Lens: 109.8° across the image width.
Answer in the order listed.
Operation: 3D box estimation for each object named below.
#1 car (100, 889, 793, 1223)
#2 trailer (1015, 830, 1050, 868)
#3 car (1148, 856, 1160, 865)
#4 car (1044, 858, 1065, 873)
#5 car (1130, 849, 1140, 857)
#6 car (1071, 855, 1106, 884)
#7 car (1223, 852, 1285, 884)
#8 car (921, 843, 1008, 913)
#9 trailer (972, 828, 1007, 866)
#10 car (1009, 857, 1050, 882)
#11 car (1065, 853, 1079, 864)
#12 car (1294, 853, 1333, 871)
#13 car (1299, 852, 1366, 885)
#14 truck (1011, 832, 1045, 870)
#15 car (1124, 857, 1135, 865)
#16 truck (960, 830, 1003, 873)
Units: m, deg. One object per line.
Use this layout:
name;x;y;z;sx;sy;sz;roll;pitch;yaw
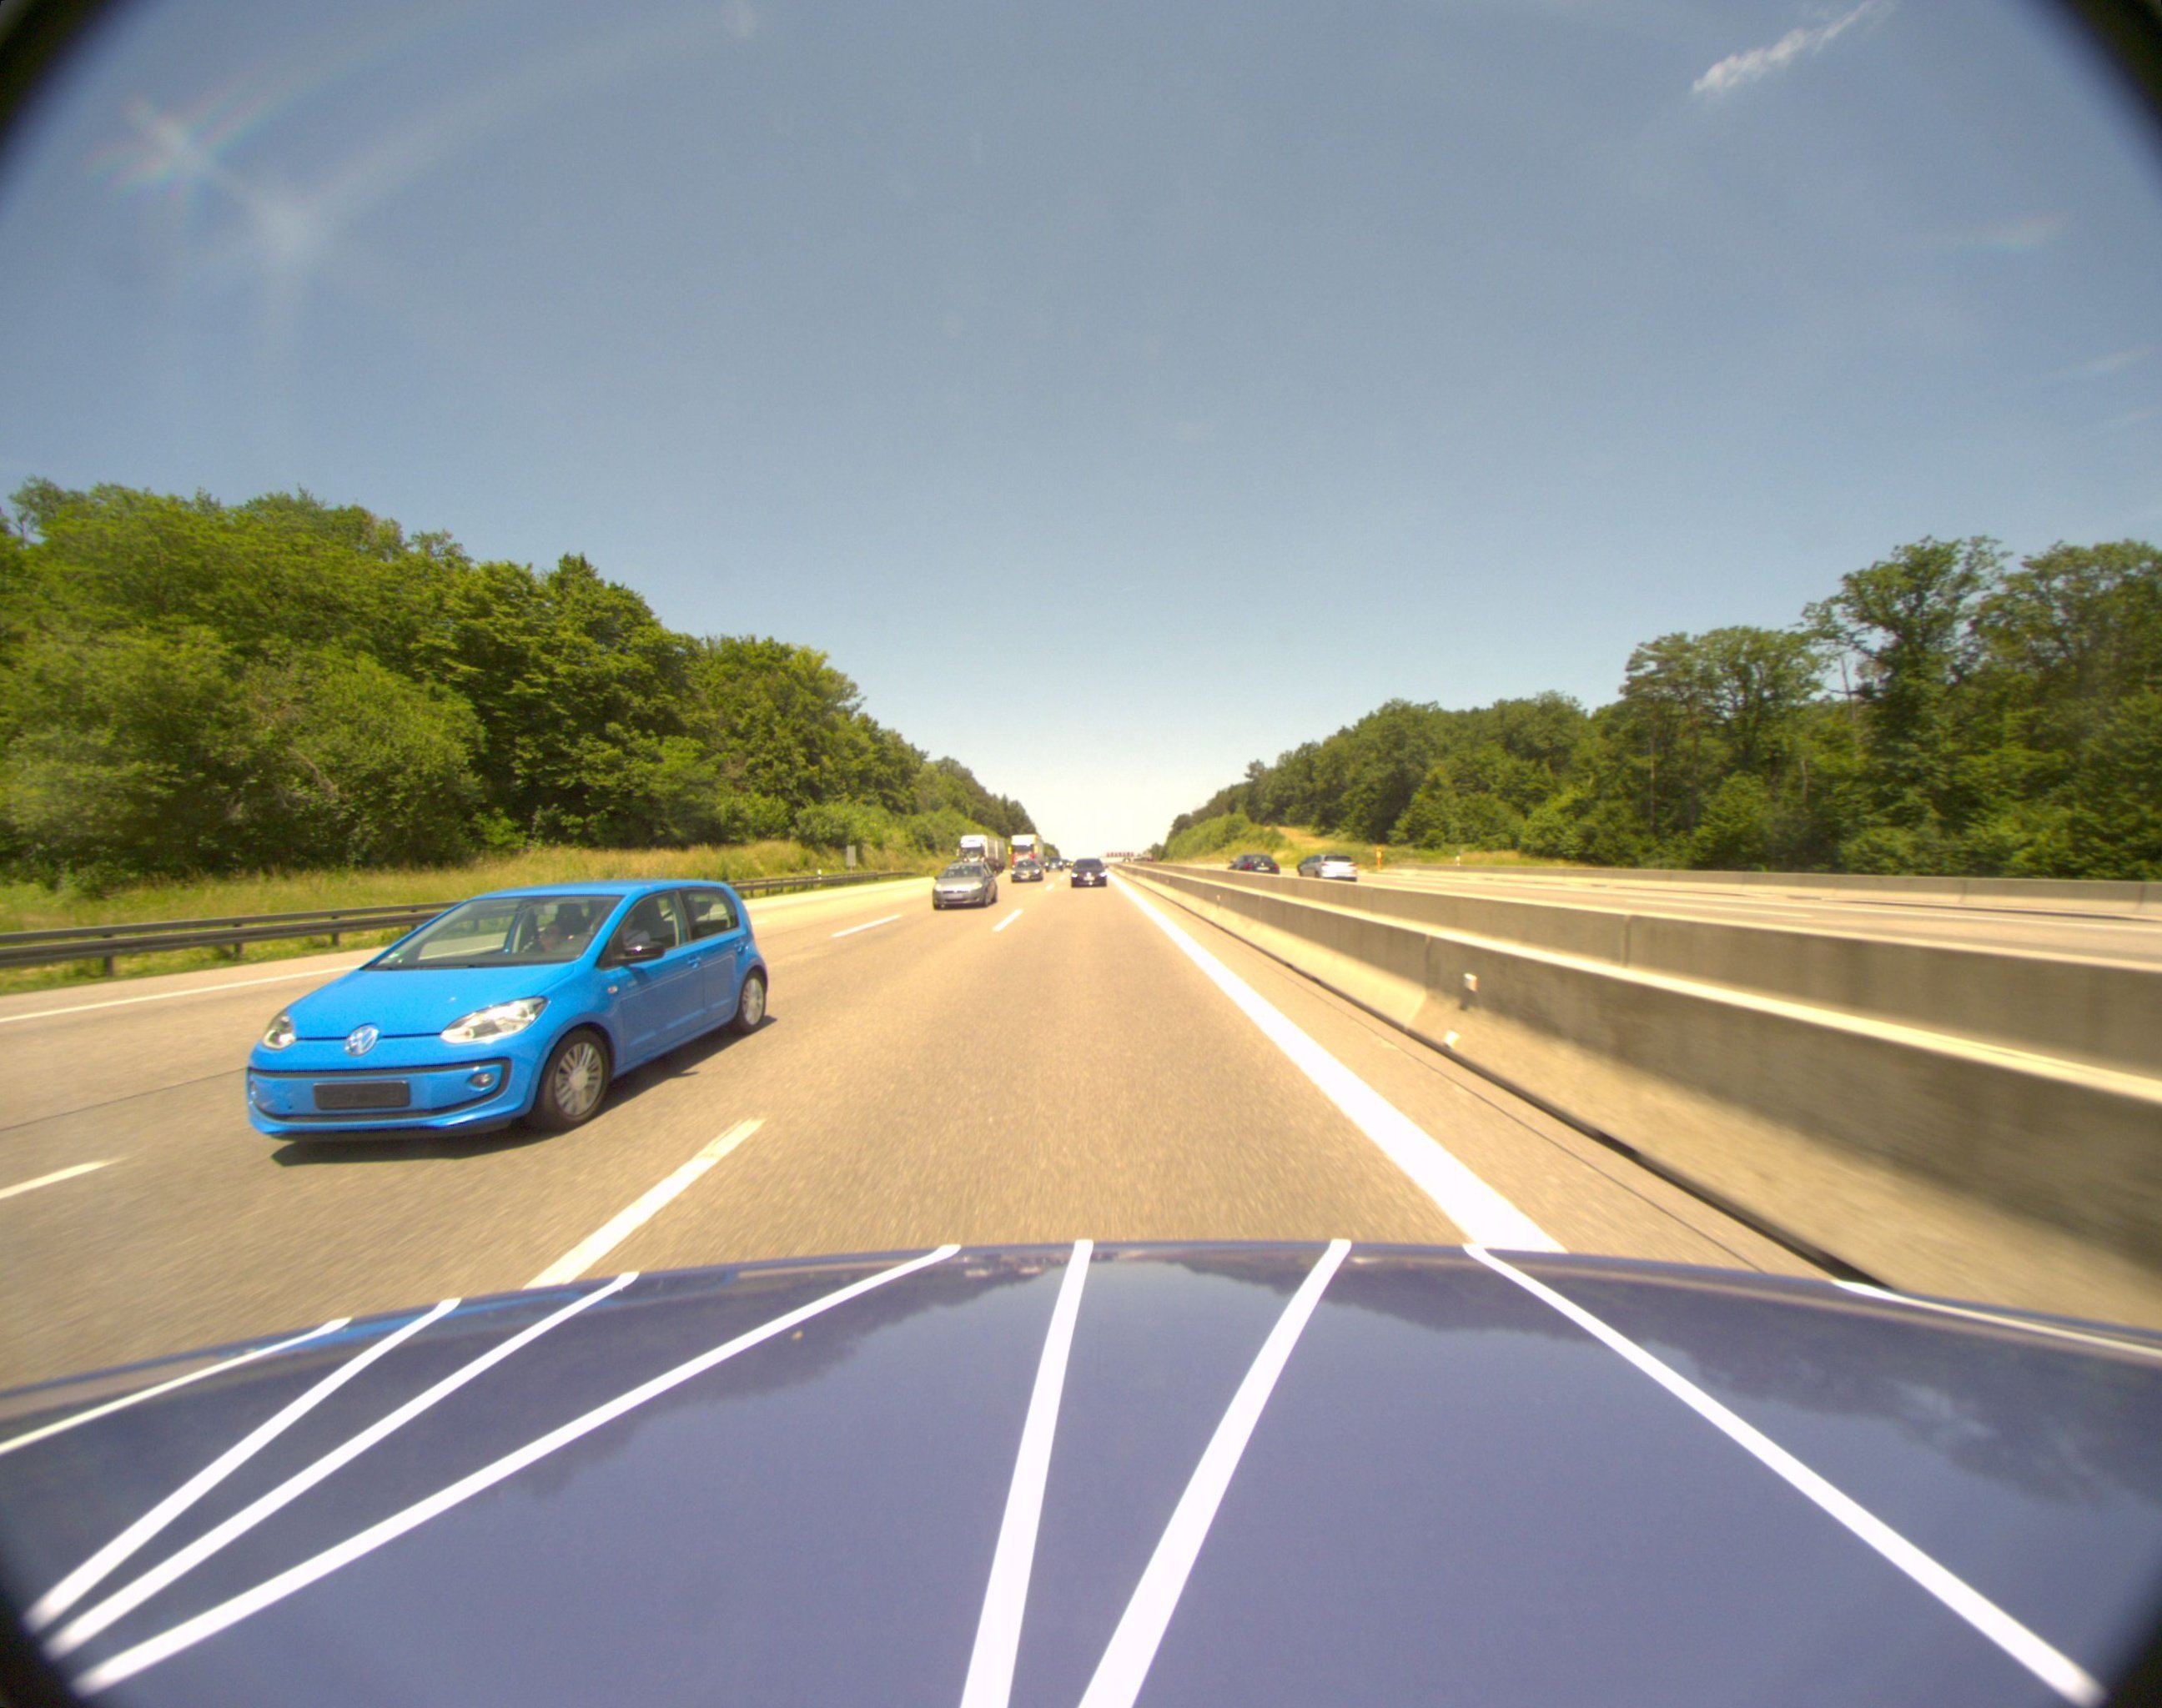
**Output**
car;-3.847;1.081;5.692;1.741;1.403;4.000;-1;0;1
trailer;-5.687;-0.383;91.318;2.926;4.118;14.852;-1;-1;1
car;14.547;1.271;151.412;1.998;1.665;5.281;1;0;0
car;-2.807;1.241;81.833;1.910;1.503;4.160;-3;-1;2
car;13.141;-0.207;185.070;1.999;2.002;4.811;-1;0;-1
car;0.420;0.856;41.969;1.777;1.425;4.144;-3;-1;1
car;8.189;0.618;36.337;1.843;1.433;4.845;-1;0;0
car;-3.758;0.716;25.378;1.966;2.041;4.784;-3;0;1
trailer;-10.406;-0.719;87.194;2.585;4.045;8.384;-3;-1;1
car;-3.314;0.988;49.846;1.971;1.444;5.226;-2;-1;3
car;-1.415;0.741;116.213;1.910;1.503;4.160;-3;-1;2
car;19.747;0.619;64.674;1.843;1.433;4.763;1;0;0
car;11.771;0.658;35.836;1.843;1.433;4.000;-1;0;0
truck;-5.854;-0.284;84.689;3.018;3.957;7.541;-2;-1;1
car;10.556;1.414;164.901;1.998;1.663;5.281;1;0;0
truck;-10.406;-0.205;80.913;2.728;4.136;10.971;-3;-1;1
